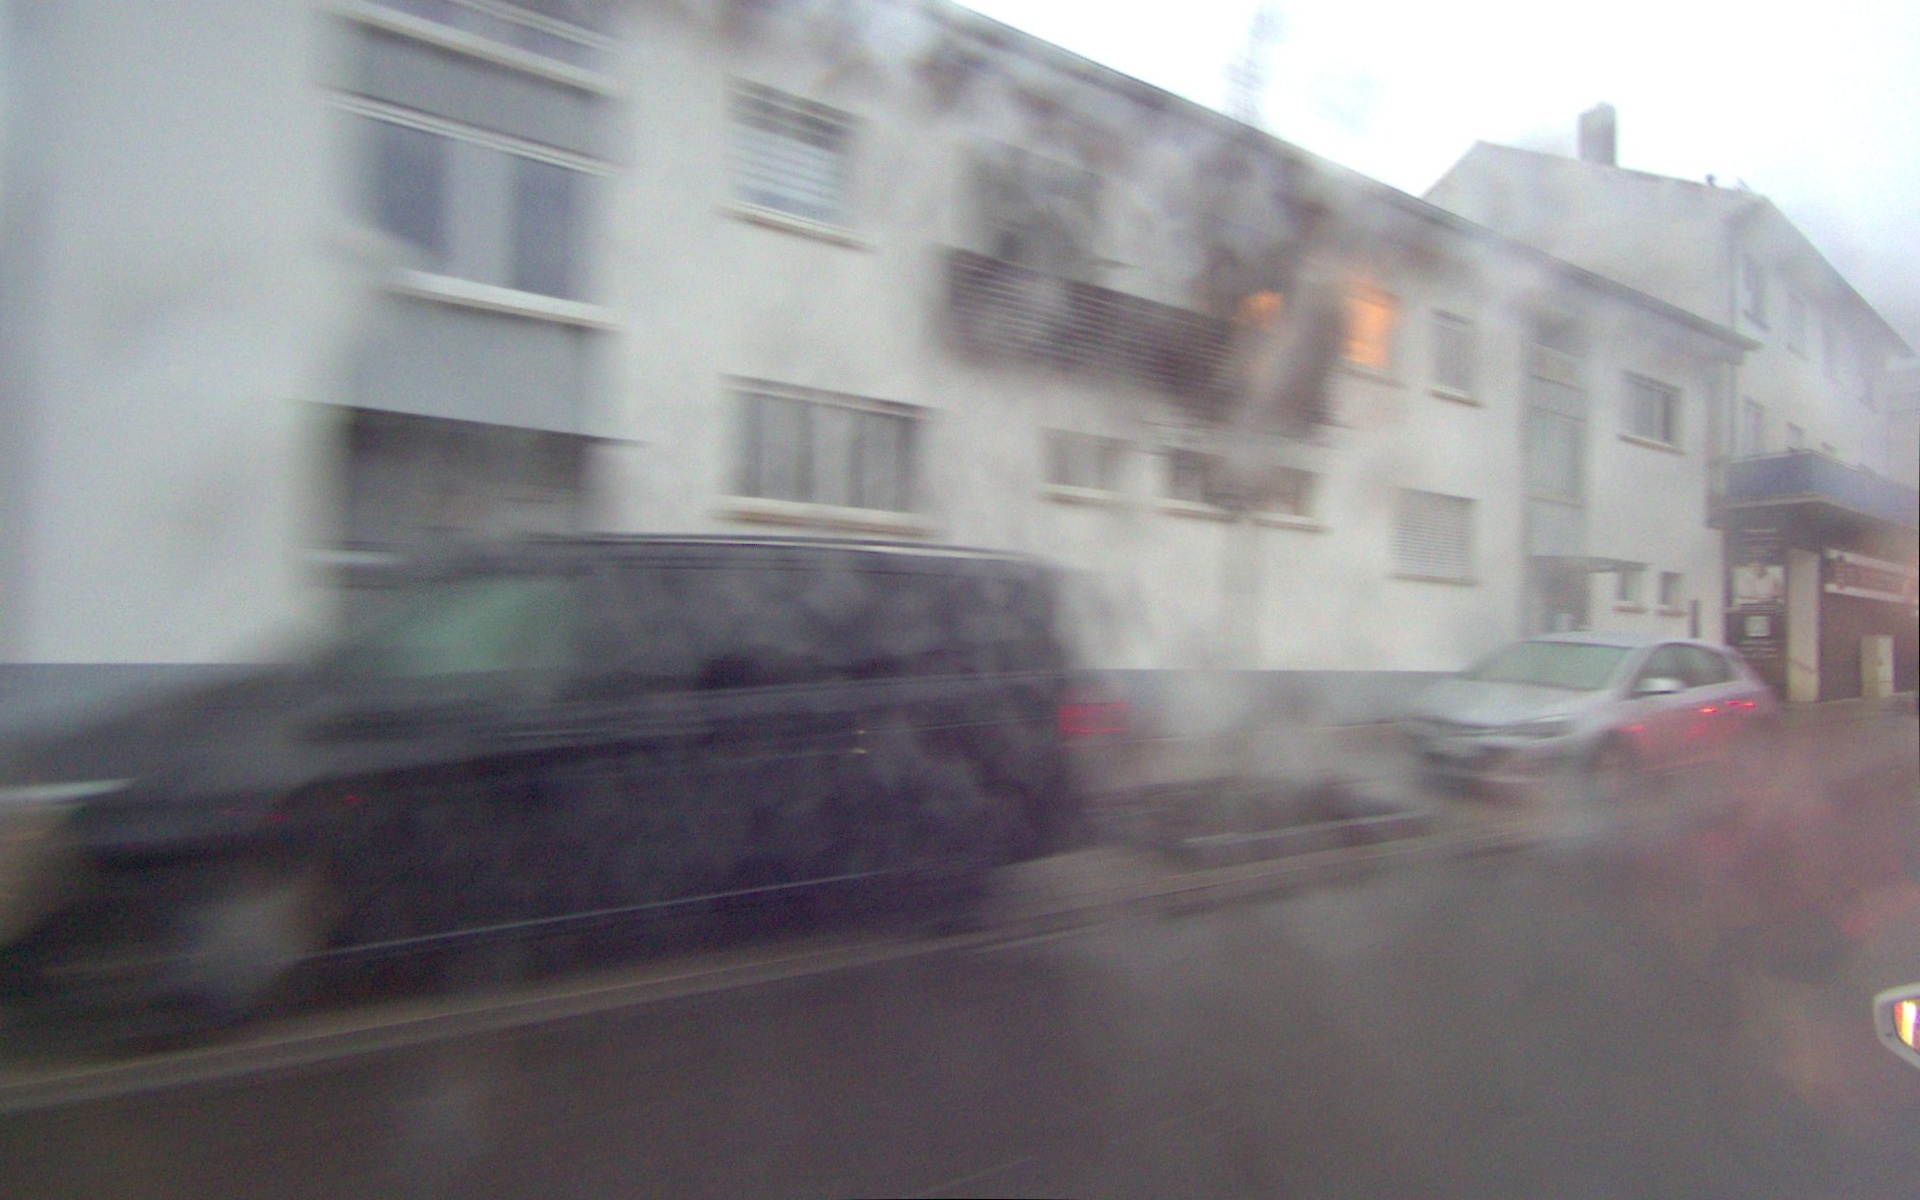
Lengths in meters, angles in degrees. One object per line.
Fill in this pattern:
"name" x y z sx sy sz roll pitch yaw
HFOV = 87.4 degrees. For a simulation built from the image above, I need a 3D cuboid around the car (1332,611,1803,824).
"car" 5.969 0.947 9.782 4.491 1.550 1.903 1 3 -29
